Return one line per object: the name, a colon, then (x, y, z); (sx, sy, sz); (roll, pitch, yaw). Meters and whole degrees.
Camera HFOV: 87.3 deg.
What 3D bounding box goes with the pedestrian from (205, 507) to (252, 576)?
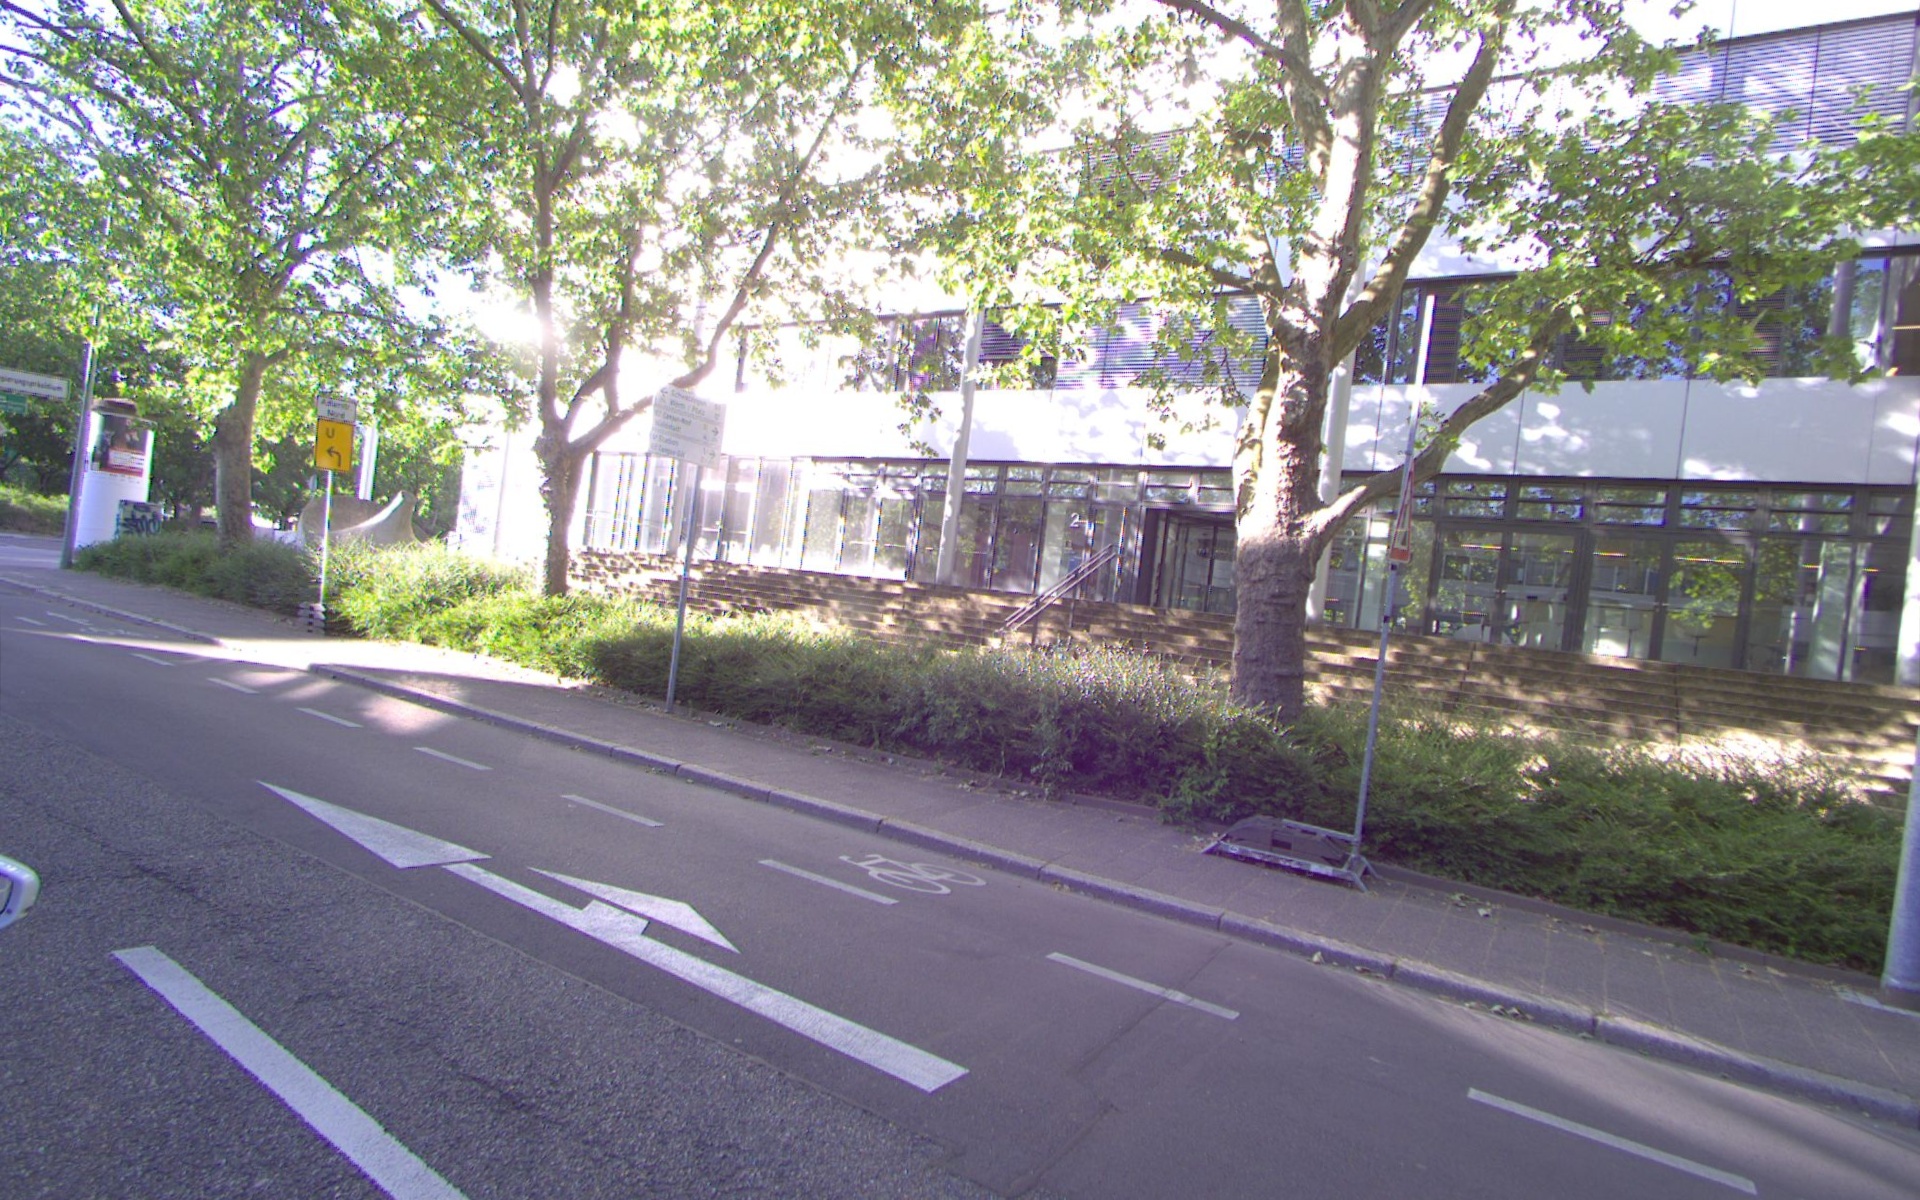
pedestrian: (-20.508, -1.631, 28.189); (0.719, 1.799, 0.735); (6, -1, 40)
